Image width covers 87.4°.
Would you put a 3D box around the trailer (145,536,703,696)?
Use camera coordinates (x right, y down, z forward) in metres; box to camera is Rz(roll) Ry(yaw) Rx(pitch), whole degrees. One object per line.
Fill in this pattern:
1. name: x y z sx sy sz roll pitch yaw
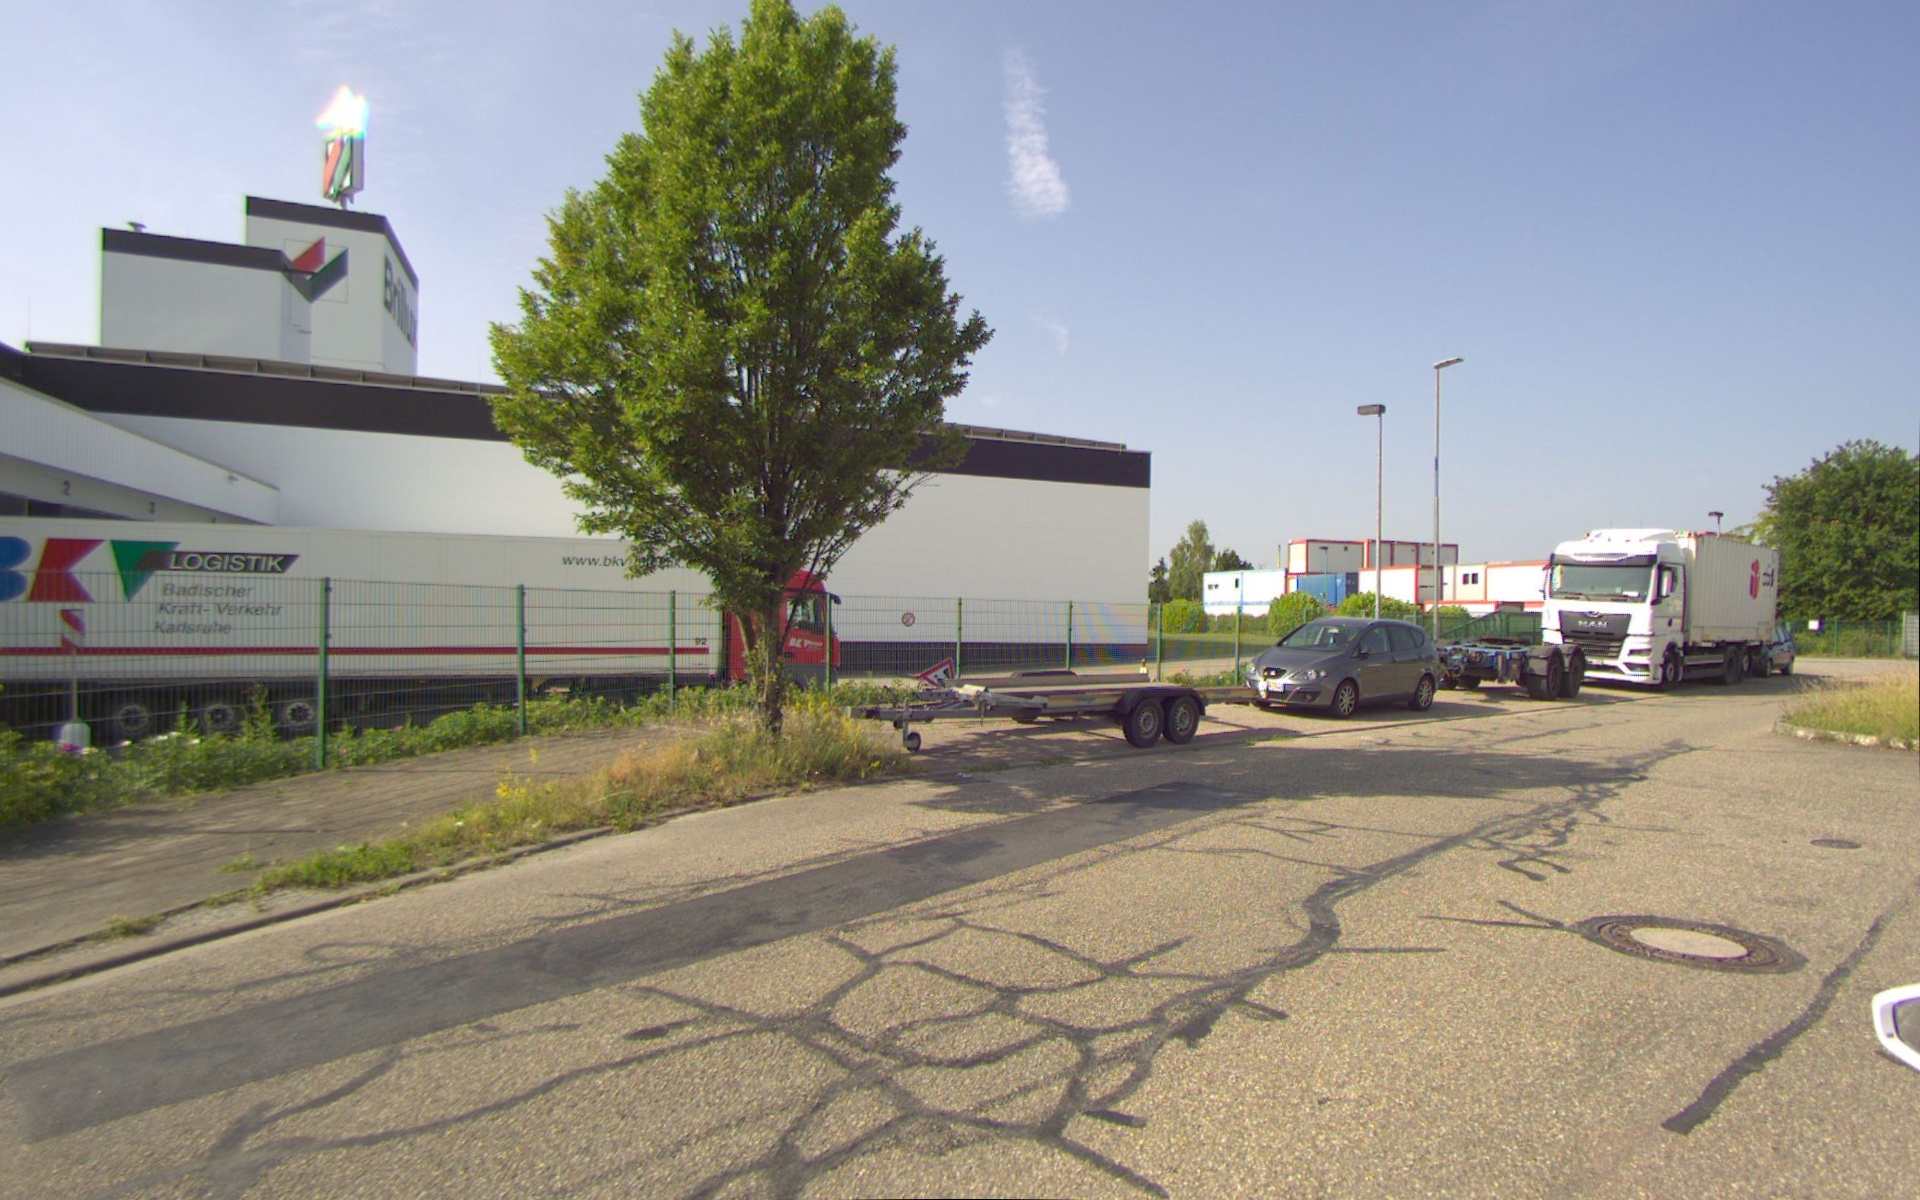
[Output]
1. trailer: -14.858 0.617 29.554 13.809 4.060 2.848 2 1 -22

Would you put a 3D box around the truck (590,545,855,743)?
1. truck: -5.501 1.024 23.175 5.465 4.125 2.507 3 0 -23

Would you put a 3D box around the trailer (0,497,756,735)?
1. trailer: -11.374 0.551 20.742 13.688 4.095 2.477 3 0 -22

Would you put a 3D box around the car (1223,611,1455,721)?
1. car: 6.595 1.054 17.287 4.296 1.582 1.683 1 2 -38

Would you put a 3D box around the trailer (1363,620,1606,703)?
1. trailer: 11.184 1.210 21.312 5.029 1.473 2.662 1 0 -37

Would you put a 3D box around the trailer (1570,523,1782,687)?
1. trailer: 19.951 0.232 27.790 7.510 3.974 2.678 3 0 -39

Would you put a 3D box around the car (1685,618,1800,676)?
1. car: 25.180 1.451 32.279 4.550 1.663 1.977 1 1 -40

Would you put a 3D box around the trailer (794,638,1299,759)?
1. trailer: 1.400 1.098 13.056 6.652 0.937 2.526 1 3 -39

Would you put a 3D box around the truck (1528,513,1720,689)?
1. truck: 16.616 0.060 25.101 4.260 3.974 2.687 3 0 -38

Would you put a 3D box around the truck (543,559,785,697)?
1. truck: -9.346 0.908 31.777 6.914 3.922 2.758 3 0 -23
